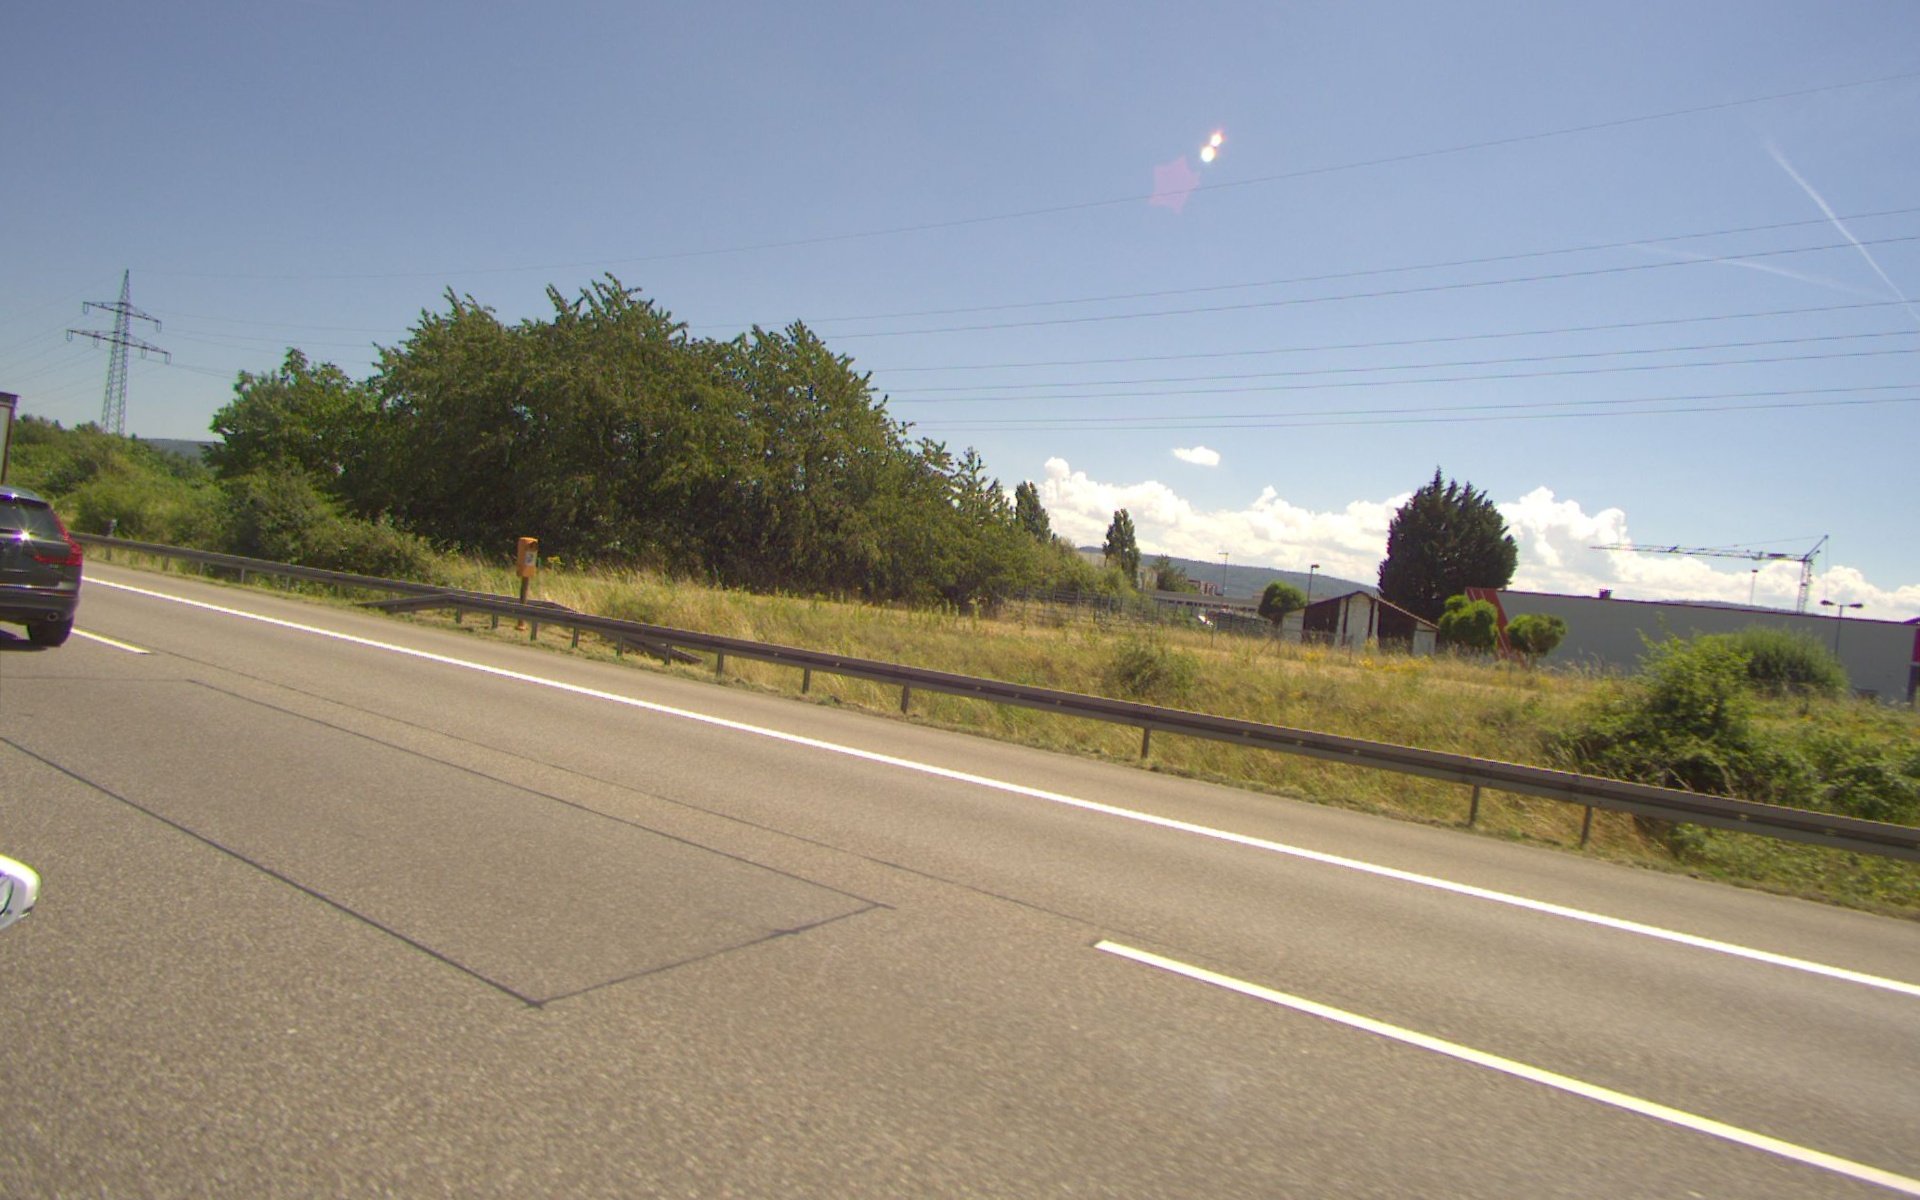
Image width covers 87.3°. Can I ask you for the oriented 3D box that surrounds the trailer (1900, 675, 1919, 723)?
[{"bbox_3d":[49.638,5.138,49.746,2.931,2.412,7.910,7,1,32],"label":"trailer"}]

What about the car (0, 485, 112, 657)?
[{"bbox_3d":[-11.080,-0.490,10.710,3.937,1.642,1.877,6,-1,31],"label":"car"}]

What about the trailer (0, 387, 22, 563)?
[{"bbox_3d":[-28.862,-3.663,26.329,12.905,4.155,2.740,6,-1,32],"label":"trailer"}]
